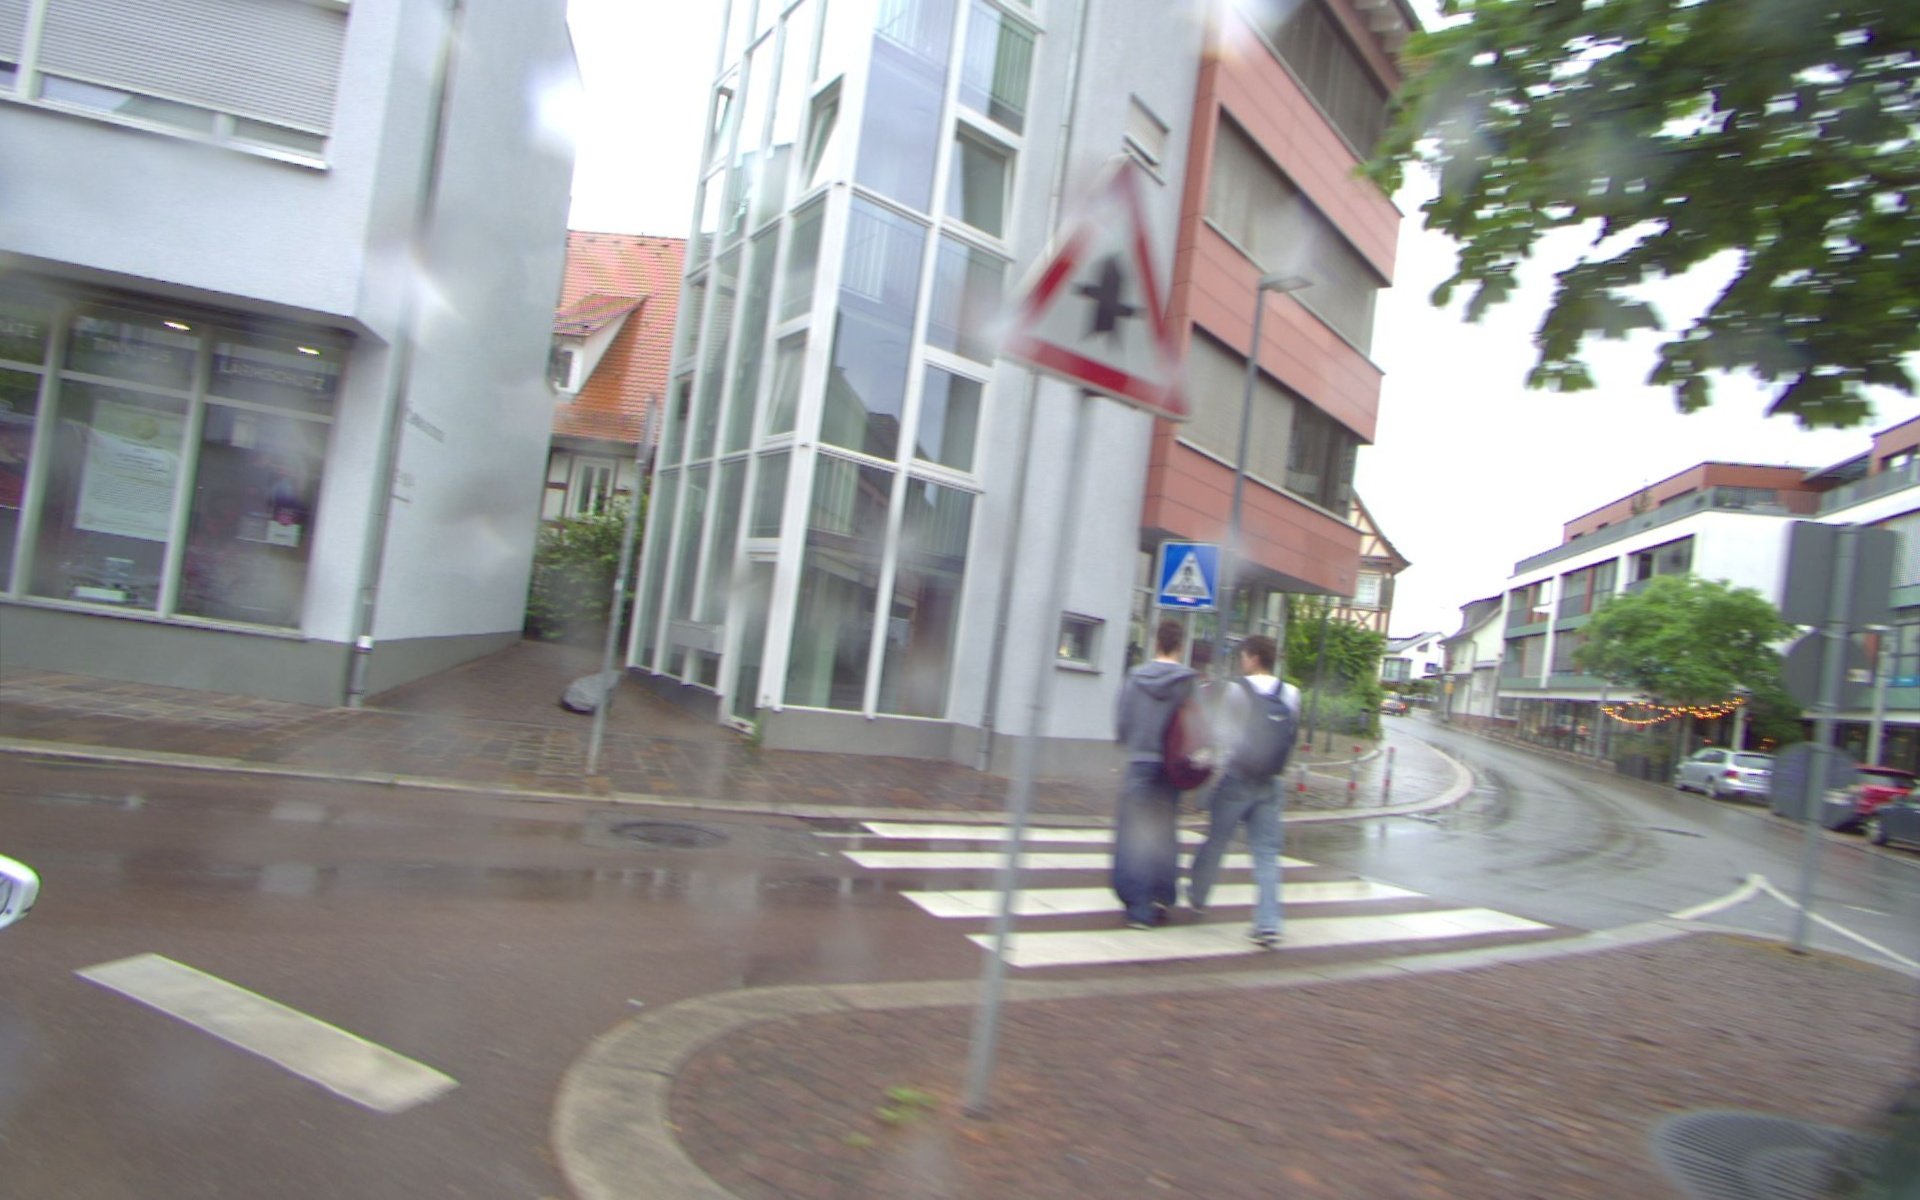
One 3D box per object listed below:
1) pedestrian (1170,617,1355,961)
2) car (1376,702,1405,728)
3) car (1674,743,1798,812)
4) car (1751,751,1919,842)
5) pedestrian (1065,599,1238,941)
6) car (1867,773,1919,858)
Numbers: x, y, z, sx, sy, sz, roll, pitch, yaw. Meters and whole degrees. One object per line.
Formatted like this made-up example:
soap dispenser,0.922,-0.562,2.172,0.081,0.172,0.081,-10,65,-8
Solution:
pedestrian,1.794,1.077,6.122,0.653,1.827,1.062,7,-2,4
car,29.860,7.938,69.800,1.499,1.487,3.344,7,-2,20
car,22.299,5.047,29.065,1.591,1.429,4.003,4,-3,20
car,20.578,4.530,23.615,1.598,1.517,4.006,4,-3,14
pedestrian,1.125,0.972,6.140,0.681,1.820,1.059,7,-2,3
car,18.858,4.218,18.892,1.513,1.378,3.373,5,-1,21
